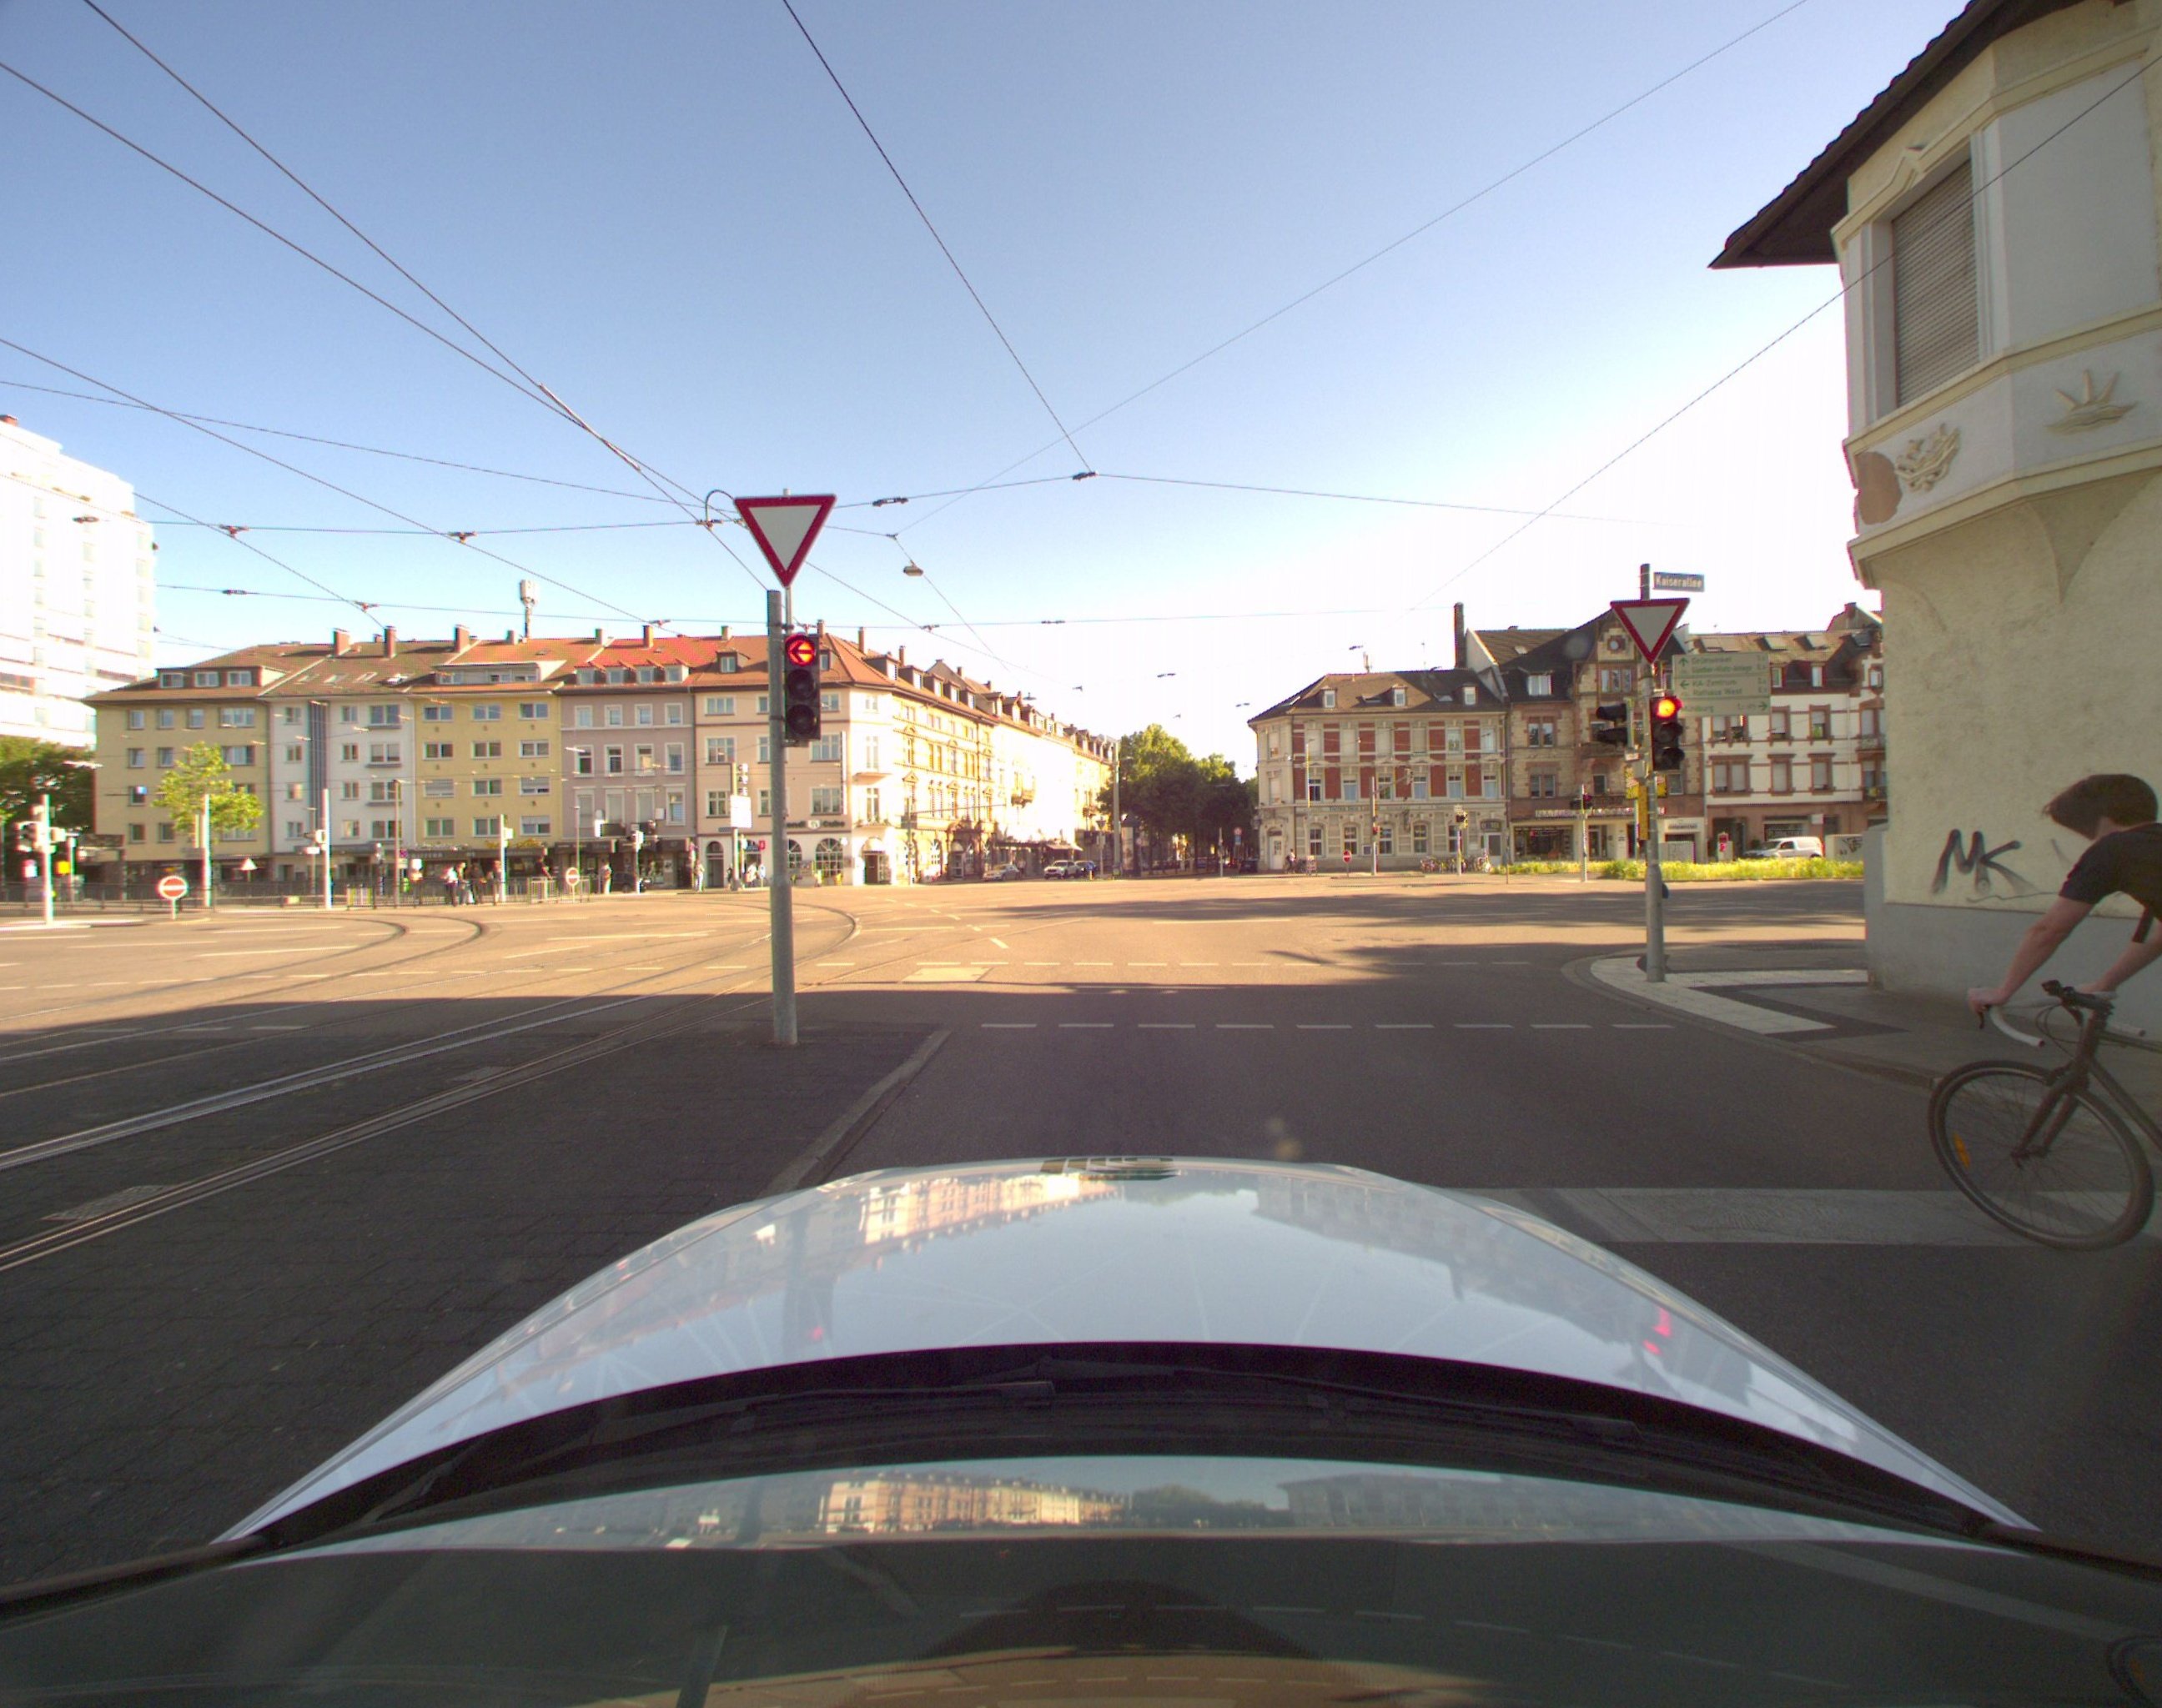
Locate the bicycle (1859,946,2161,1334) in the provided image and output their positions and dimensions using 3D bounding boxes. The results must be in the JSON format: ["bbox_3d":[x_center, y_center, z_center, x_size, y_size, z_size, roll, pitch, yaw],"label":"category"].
[{"bbox_3d":[3.562,0.924,2.499,0.568,1.058,1.890,-1,0,2],"label":"bicycle"}]

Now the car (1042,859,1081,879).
[{"bbox_3d":[-1.587,1.222,67.666,1.977,1.516,4.189,-1,0,18],"label":"car"}]

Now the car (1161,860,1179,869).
[{"bbox_3d":[14.333,1.715,131.257,1.977,1.404,4.189,-1,0,18],"label":"car"}]

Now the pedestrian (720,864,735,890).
[{"bbox_3d":[-24.044,1.558,55.368,0.740,1.682,0.626,-1,0,-10],"label":"pedestrian"}]

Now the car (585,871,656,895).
[{"bbox_3d":[-30.330,1.901,53.697,3.711,1.491,1.820,0,-1,4],"label":"car"}]

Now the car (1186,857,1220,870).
[{"bbox_3d":[14.965,1.162,99.504,3.959,1.454,1.687,-1,0,13],"label":"car"}]

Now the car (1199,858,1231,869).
[{"bbox_3d":[17.339,1.232,105.158,3.959,1.288,1.700,-1,0,13],"label":"car"}]

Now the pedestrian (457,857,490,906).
[{"bbox_3d":[-23.233,1.044,31.159,0.625,1.850,0.778,-1,0,1],"label":"pedestrian"}]

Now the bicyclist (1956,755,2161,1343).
[{"bbox_3d":[3.561,0.582,2.497,0.649,1.767,0.995,-1,0,2],"label":"bicyclist"}]

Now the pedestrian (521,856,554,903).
[{"bbox_3d":[-21.603,1.021,32.378,0.764,1.829,0.723,-1,0,1],"label":"pedestrian"}]

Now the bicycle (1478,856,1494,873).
[{"bbox_3d":[26.336,0.675,52.915,0.483,1.020,1.789,-1,0,12],"label":"bicycle"}]

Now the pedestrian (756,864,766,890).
[{"bbox_3d":[-15.798,1.136,40.190,0.364,1.253,0.449,-1,0,-10],"label":"pedestrian"}]

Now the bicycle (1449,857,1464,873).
[{"bbox_3d":[24.317,0.688,52.803,0.483,1.020,1.789,-1,0,12],"label":"bicycle"}]

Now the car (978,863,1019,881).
[{"bbox_3d":[-6.756,1.480,67.360,1.977,1.361,3.836,-1,0,18],"label":"car"}]

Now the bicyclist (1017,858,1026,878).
[{"bbox_3d":[-4.765,1.097,65.468,0.486,1.601,0.668,-1,0,12],"label":"bicyclist"}]

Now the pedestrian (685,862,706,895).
[{"bbox_3d":[-19.956,1.272,42.184,0.738,1.682,0.628,-1,0,1],"label":"pedestrian"}]

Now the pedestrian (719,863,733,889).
[{"bbox_3d":[-23.072,1.410,52.928,0.744,1.682,0.623,-1,0,-23],"label":"pedestrian"}]

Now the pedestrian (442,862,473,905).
[{"bbox_3d":[-24.323,1.148,31.768,0.738,1.635,0.572,-1,0,1],"label":"pedestrian"}]

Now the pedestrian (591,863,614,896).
[{"bbox_3d":[-24.903,1.307,42.376,0.764,1.682,0.628,-1,0,1],"label":"pedestrian"}]

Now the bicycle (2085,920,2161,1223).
[{"bbox_3d":[4.506,0.864,2.485,0.568,1.165,1.890,-1,0,2],"label":"bicycle"}]

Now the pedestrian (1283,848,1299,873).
[{"bbox_3d":[14.493,0.468,56.246,1.029,1.712,0.631,-1,-1,10],"label":"pedestrian"}]

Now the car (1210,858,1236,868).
[{"bbox_3d":[19.383,1.220,111.186,3.409,1.239,1.582,-1,0,13],"label":"car"}]

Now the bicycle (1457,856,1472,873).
[{"bbox_3d":[24.820,0.684,52.712,0.483,1.020,1.789,-1,0,12],"label":"bicycle"}]

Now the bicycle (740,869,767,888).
[{"bbox_3d":[-23.198,1.756,57.704,1.714,1.276,0.385,-1,0,-16],"label":"bicycle"}]

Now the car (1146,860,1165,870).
[{"bbox_3d":[11.203,1.694,122.498,1.977,1.404,4.189,-1,0,18],"label":"car"}]

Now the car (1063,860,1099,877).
[{"bbox_3d":[0.034,1.315,73.804,1.977,1.404,4.189,-1,0,18],"label":"car"}]

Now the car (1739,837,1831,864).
[{"bbox_3d":[45.342,-0.235,52.544,4.239,1.622,1.999,-1,0,-1],"label":"car"}]

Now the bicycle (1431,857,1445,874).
[{"bbox_3d":[23.162,0.729,52.871,0.483,1.020,1.789,-1,0,12],"label":"bicycle"}]

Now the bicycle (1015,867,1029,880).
[{"bbox_3d":[-4.760,1.535,65.566,0.650,1.000,1.671,-1,-1,14],"label":"bicycle"}]

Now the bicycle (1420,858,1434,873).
[{"bbox_3d":[22.485,0.739,52.975,0.483,0.914,1.789,-1,0,12],"label":"bicycle"}]

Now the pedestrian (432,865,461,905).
[{"bbox_3d":[-25.297,1.238,32.487,0.696,1.581,0.560,-1,0,1],"label":"pedestrian"}]

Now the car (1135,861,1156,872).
[{"bbox_3d":[9.248,1.819,116.820,1.977,1.404,4.189,-1,0,18],"label":"car"}]

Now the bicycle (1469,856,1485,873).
[{"bbox_3d":[25.631,0.678,52.760,0.483,1.020,1.789,-1,0,12],"label":"bicycle"}]

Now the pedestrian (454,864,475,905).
[{"bbox_3d":[-23.755,1.167,31.368,0.426,1.551,0.453,-1,0,1],"label":"pedestrian"}]

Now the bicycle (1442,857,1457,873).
[{"bbox_3d":[23.857,0.691,52.753,0.483,1.020,1.789,-1,0,12],"label":"bicycle"}]

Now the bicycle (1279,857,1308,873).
[{"bbox_3d":[14.915,0.756,57.137,1.940,1.054,0.717,-1,0,11],"label":"bicycle"}]

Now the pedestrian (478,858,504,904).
[{"bbox_3d":[-23.274,1.052,32.137,0.558,1.786,0.560,-1,0,1],"label":"pedestrian"}]

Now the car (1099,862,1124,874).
[{"bbox_3d":[3.835,1.716,102.172,1.977,1.404,4.189,-1,0,18],"label":"car"}]

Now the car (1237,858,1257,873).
[{"bbox_3d":[16.803,1.138,82.290,1.742,1.420,4.016,-1,0,14],"label":"car"}]

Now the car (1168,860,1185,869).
[{"bbox_3d":[16.033,1.744,136.416,1.977,1.404,4.189,-1,0,18],"label":"car"}]

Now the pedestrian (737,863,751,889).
[{"bbox_3d":[-21.882,1.430,52.912,0.626,1.682,0.741,-1,0,-9],"label":"pedestrian"}]
